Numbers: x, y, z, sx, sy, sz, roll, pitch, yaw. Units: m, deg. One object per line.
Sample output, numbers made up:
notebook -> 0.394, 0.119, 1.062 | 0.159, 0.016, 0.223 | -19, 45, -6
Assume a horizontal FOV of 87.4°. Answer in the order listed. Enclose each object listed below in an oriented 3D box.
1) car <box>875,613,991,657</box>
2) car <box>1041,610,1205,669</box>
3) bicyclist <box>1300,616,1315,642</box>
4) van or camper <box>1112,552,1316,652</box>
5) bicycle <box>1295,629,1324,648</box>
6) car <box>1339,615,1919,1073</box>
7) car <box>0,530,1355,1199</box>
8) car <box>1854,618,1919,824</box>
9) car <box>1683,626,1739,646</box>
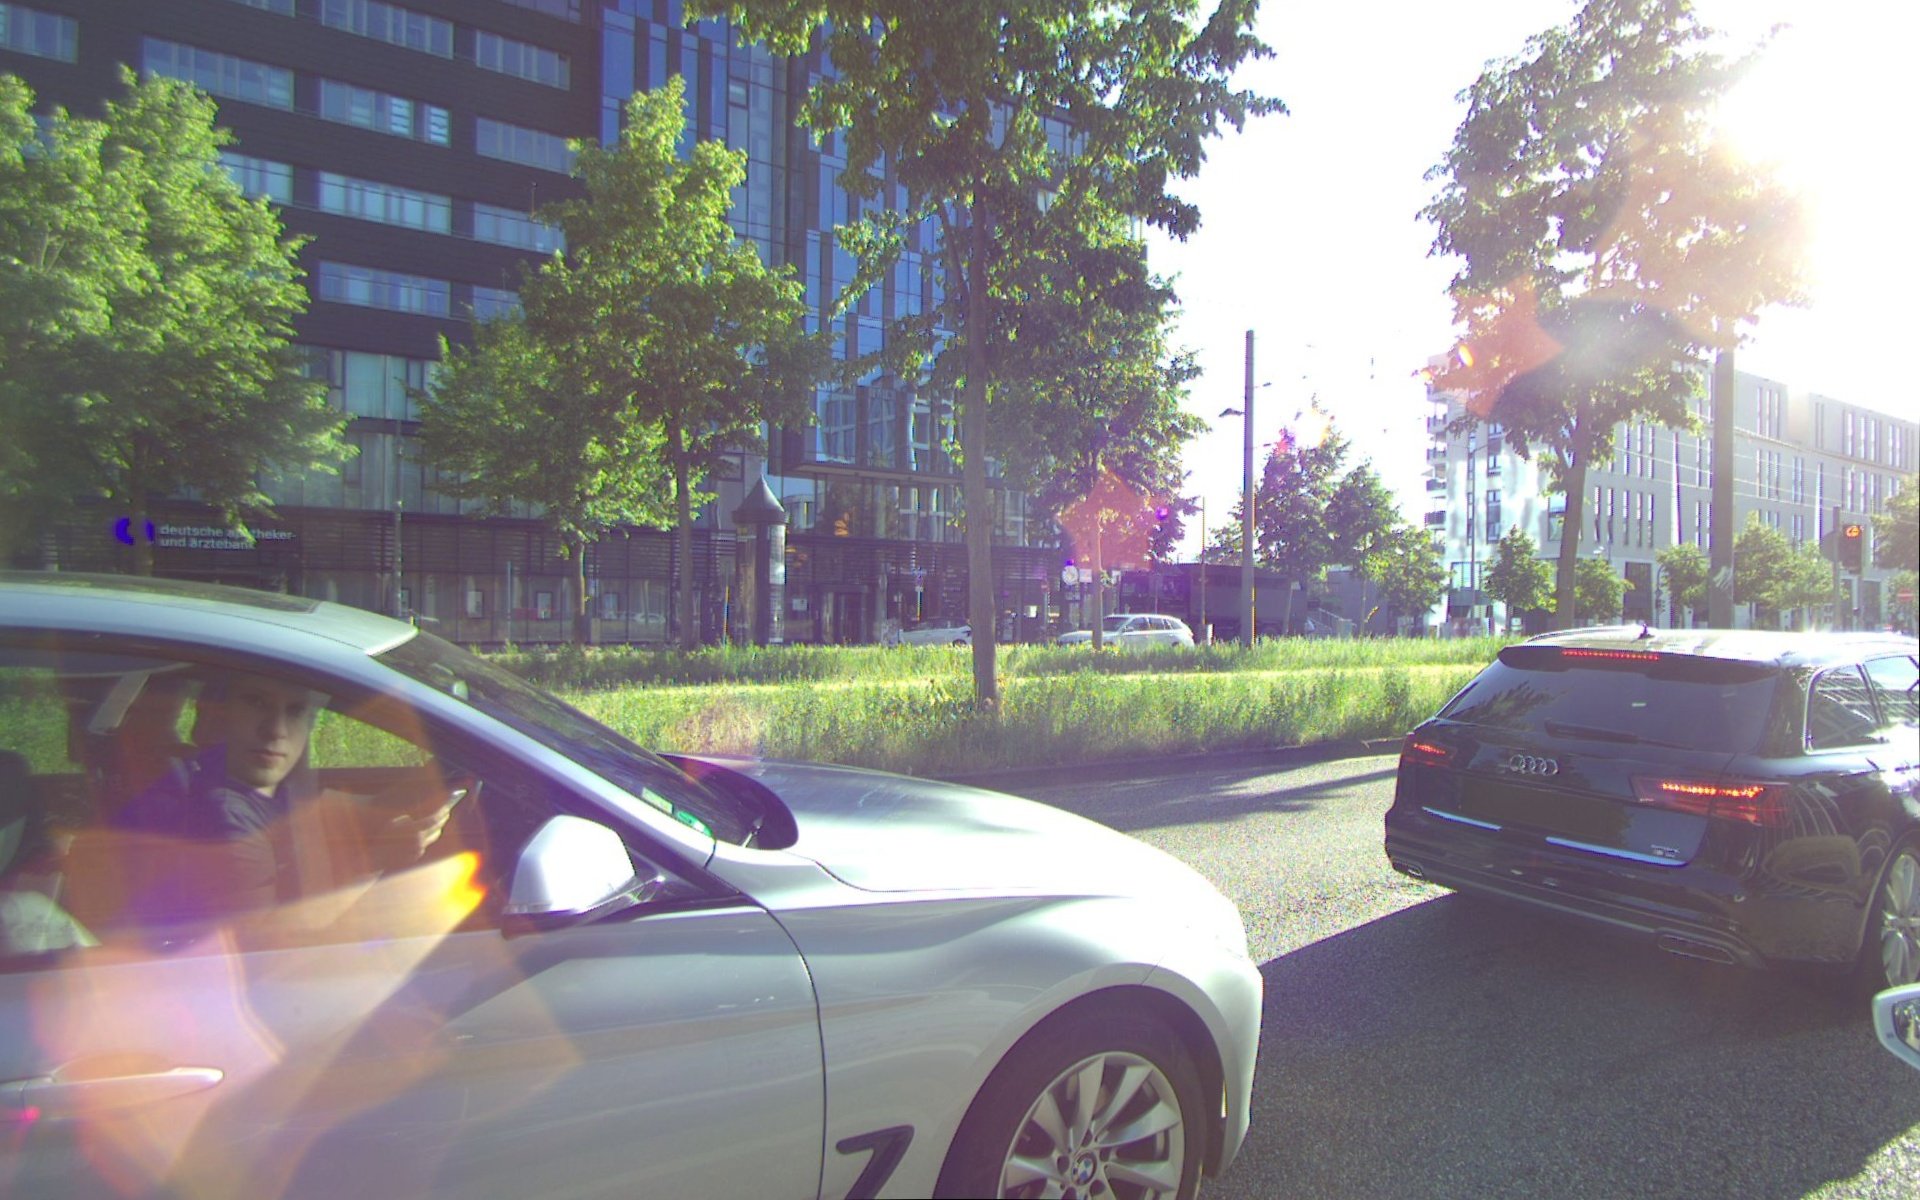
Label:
car -> -0.985, 1.267, 37.188 | 3.920, 1.525, 1.759 | 1, -1, 17
car -> 4.735, 1.109, 28.846 | 4.687, 1.558, 1.842 | 1, -1, -35
bicyclist -> 19.880, 1.653, 57.436 | 0.619, 1.425, 0.490 | 2, 0, -30
van or camper -> 11.855, 0.198, 46.309 | 10.109, 4.248, 2.740 | 2, -1, -30
bicycle -> 20.015, 2.189, 57.515 | 1.826, 1.047, 0.525 | 2, 0, -30
car -> 4.193, 0.851, 5.200 | 4.455, 1.476, 1.799 | 1, -1, -31
car -> -1.513, 0.678, 1.957 | 4.689, 1.508, 1.799 | 1, -1, -31
car -> 9.253, 0.950, 8.147 | 4.063, 1.548, 1.800 | 1, -1, -30
car -> 52.447, 2.507, 70.095 | 4.420, 1.360, 1.572 | 2, -1, -31
